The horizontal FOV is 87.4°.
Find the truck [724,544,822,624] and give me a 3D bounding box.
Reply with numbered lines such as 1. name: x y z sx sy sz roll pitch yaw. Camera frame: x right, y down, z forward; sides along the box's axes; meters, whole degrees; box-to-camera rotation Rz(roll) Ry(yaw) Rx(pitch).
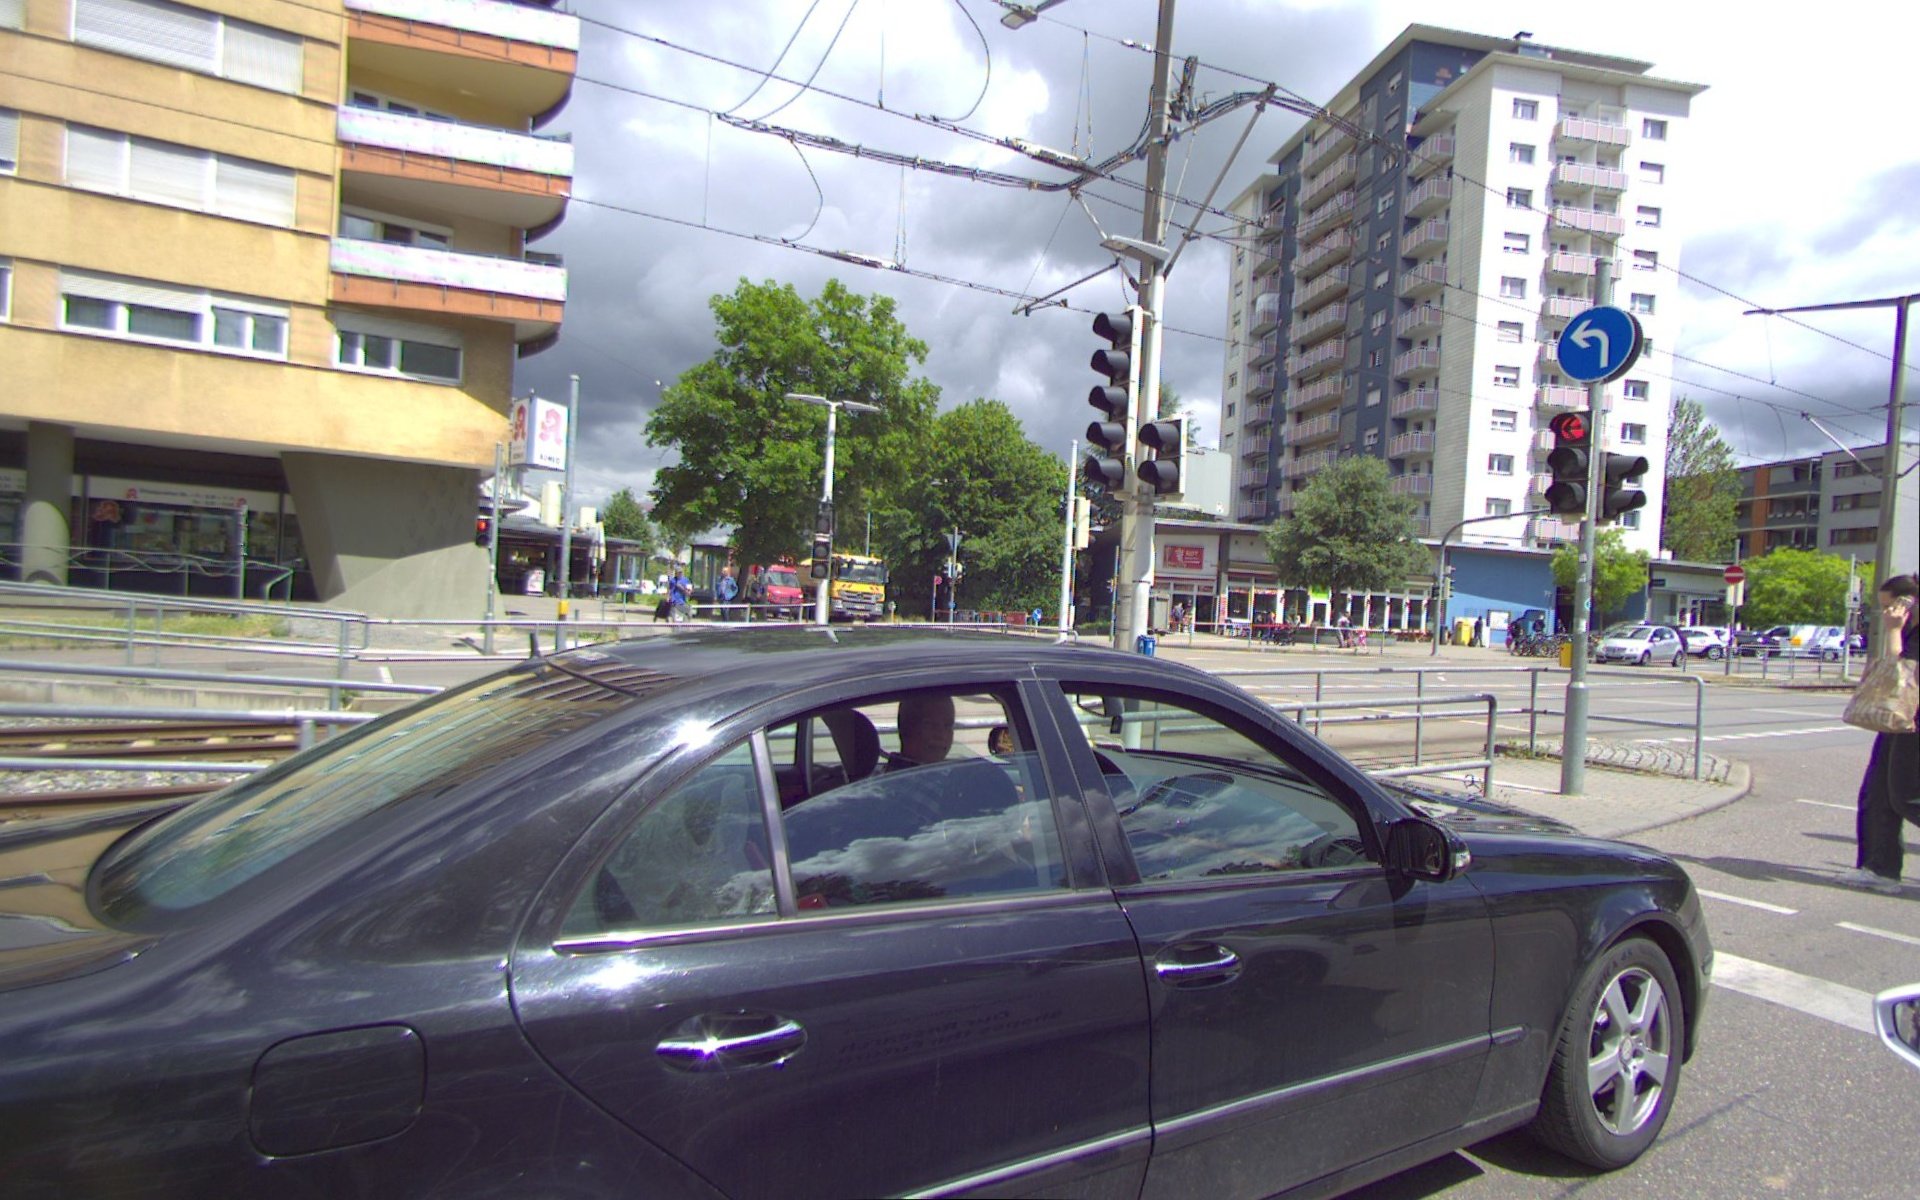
1. truck: -8.994 -0.708 47.313 2.692 3.320 8.876 2 0 -23

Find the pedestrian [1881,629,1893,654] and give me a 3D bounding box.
1. pedestrian: 64.869 2.883 70.283 0.401 1.739 0.542 1 0 -39

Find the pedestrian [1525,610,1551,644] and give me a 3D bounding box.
1. pedestrian: 33.794 1.561 58.767 1.203 1.942 0.858 1 1 -36

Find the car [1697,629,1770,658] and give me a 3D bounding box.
1. car: 43.262 2.408 56.274 1.754 1.439 4.219 2 0 15

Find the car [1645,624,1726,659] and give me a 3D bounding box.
1. car: 37.891 2.143 52.609 1.921 1.591 4.220 2 0 13

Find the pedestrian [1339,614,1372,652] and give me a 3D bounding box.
1. pedestrian: 17.857 1.484 45.342 1.078 1.681 0.947 2 -1 -1

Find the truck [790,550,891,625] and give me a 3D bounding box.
1. truck: -5.838 -0.564 47.966 2.733 3.244 7.442 2 0 -23

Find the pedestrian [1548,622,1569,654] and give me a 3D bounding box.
1. pedestrian: 31.603 1.991 53.066 0.693 1.637 0.759 1 0 -44

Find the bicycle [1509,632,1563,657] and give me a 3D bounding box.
1. bicycle: 24.414 1.890 42.584 0.490 0.947 1.933 2 0 -35

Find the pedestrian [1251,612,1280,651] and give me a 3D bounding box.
1. pedestrian: 13.843 1.419 45.543 0.977 1.681 0.969 2 -1 -4

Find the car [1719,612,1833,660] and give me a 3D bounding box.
1. car: 47.513 2.006 58.738 2.776 2.511 6.724 2 0 17

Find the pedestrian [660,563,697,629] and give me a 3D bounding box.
1. pedestrian: -7.218 -0.107 25.756 0.751 1.638 0.779 1 4 -5

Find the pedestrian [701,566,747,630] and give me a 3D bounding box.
1. pedestrian: -6.470 -0.052 27.591 0.750 1.636 0.780 7 1 17

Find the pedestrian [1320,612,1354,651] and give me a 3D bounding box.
1. pedestrian: 16.762 1.403 44.659 1.078 1.681 0.947 2 -1 -1

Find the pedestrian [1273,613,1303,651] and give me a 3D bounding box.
1. pedestrian: 14.920 1.455 45.740 0.977 1.681 0.969 2 -1 -4

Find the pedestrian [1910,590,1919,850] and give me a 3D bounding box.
1. pedestrian: 6.793 0.789 6.264 0.856 1.696 0.953 1 -1 -15

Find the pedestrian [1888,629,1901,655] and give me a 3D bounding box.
1. pedestrian: 63.996 2.864 68.758 0.663 1.739 0.542 1 0 -40

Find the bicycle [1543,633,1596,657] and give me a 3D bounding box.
1. bicycle: 26.617 1.969 43.912 0.490 0.947 1.933 2 0 -35

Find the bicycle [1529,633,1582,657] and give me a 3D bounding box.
1. bicycle: 25.733 1.938 43.406 0.490 0.947 1.933 2 0 -35

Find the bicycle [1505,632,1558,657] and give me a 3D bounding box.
1. bicycle: 24.052 1.877 42.304 0.490 0.947 1.933 2 0 -35

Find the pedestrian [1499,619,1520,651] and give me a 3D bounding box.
1. pedestrian: 29.203 1.868 53.386 0.693 1.637 0.760 1 0 -43

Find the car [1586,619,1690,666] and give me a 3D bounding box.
1. car: 26.906 1.685 39.859 3.827 1.715 1.928 2 0 -30

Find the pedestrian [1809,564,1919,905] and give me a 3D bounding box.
1. pedestrian: 5.362 0.715 5.519 0.766 1.789 0.925 1 1 -41

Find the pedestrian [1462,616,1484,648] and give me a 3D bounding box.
1. pedestrian: 26.766 1.681 52.395 0.693 1.637 0.760 1 0 -42

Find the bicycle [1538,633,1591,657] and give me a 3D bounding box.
1. bicycle: 26.222 1.955 43.627 0.490 0.947 1.933 2 0 -35

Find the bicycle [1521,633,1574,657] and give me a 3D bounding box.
1. bicycle: 25.209 1.920 43.148 0.490 0.947 1.933 2 0 -35

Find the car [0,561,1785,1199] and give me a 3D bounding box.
1. car: 0.108 0.735 2.637 4.491 1.481 1.720 2 0 -30

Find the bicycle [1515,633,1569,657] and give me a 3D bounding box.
1. bicycle: 24.824 1.905 42.874 0.490 0.947 1.933 2 0 -35

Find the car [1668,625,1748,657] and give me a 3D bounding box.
1. car: 40.532 2.199 54.532 1.921 1.558 4.220 2 0 13
